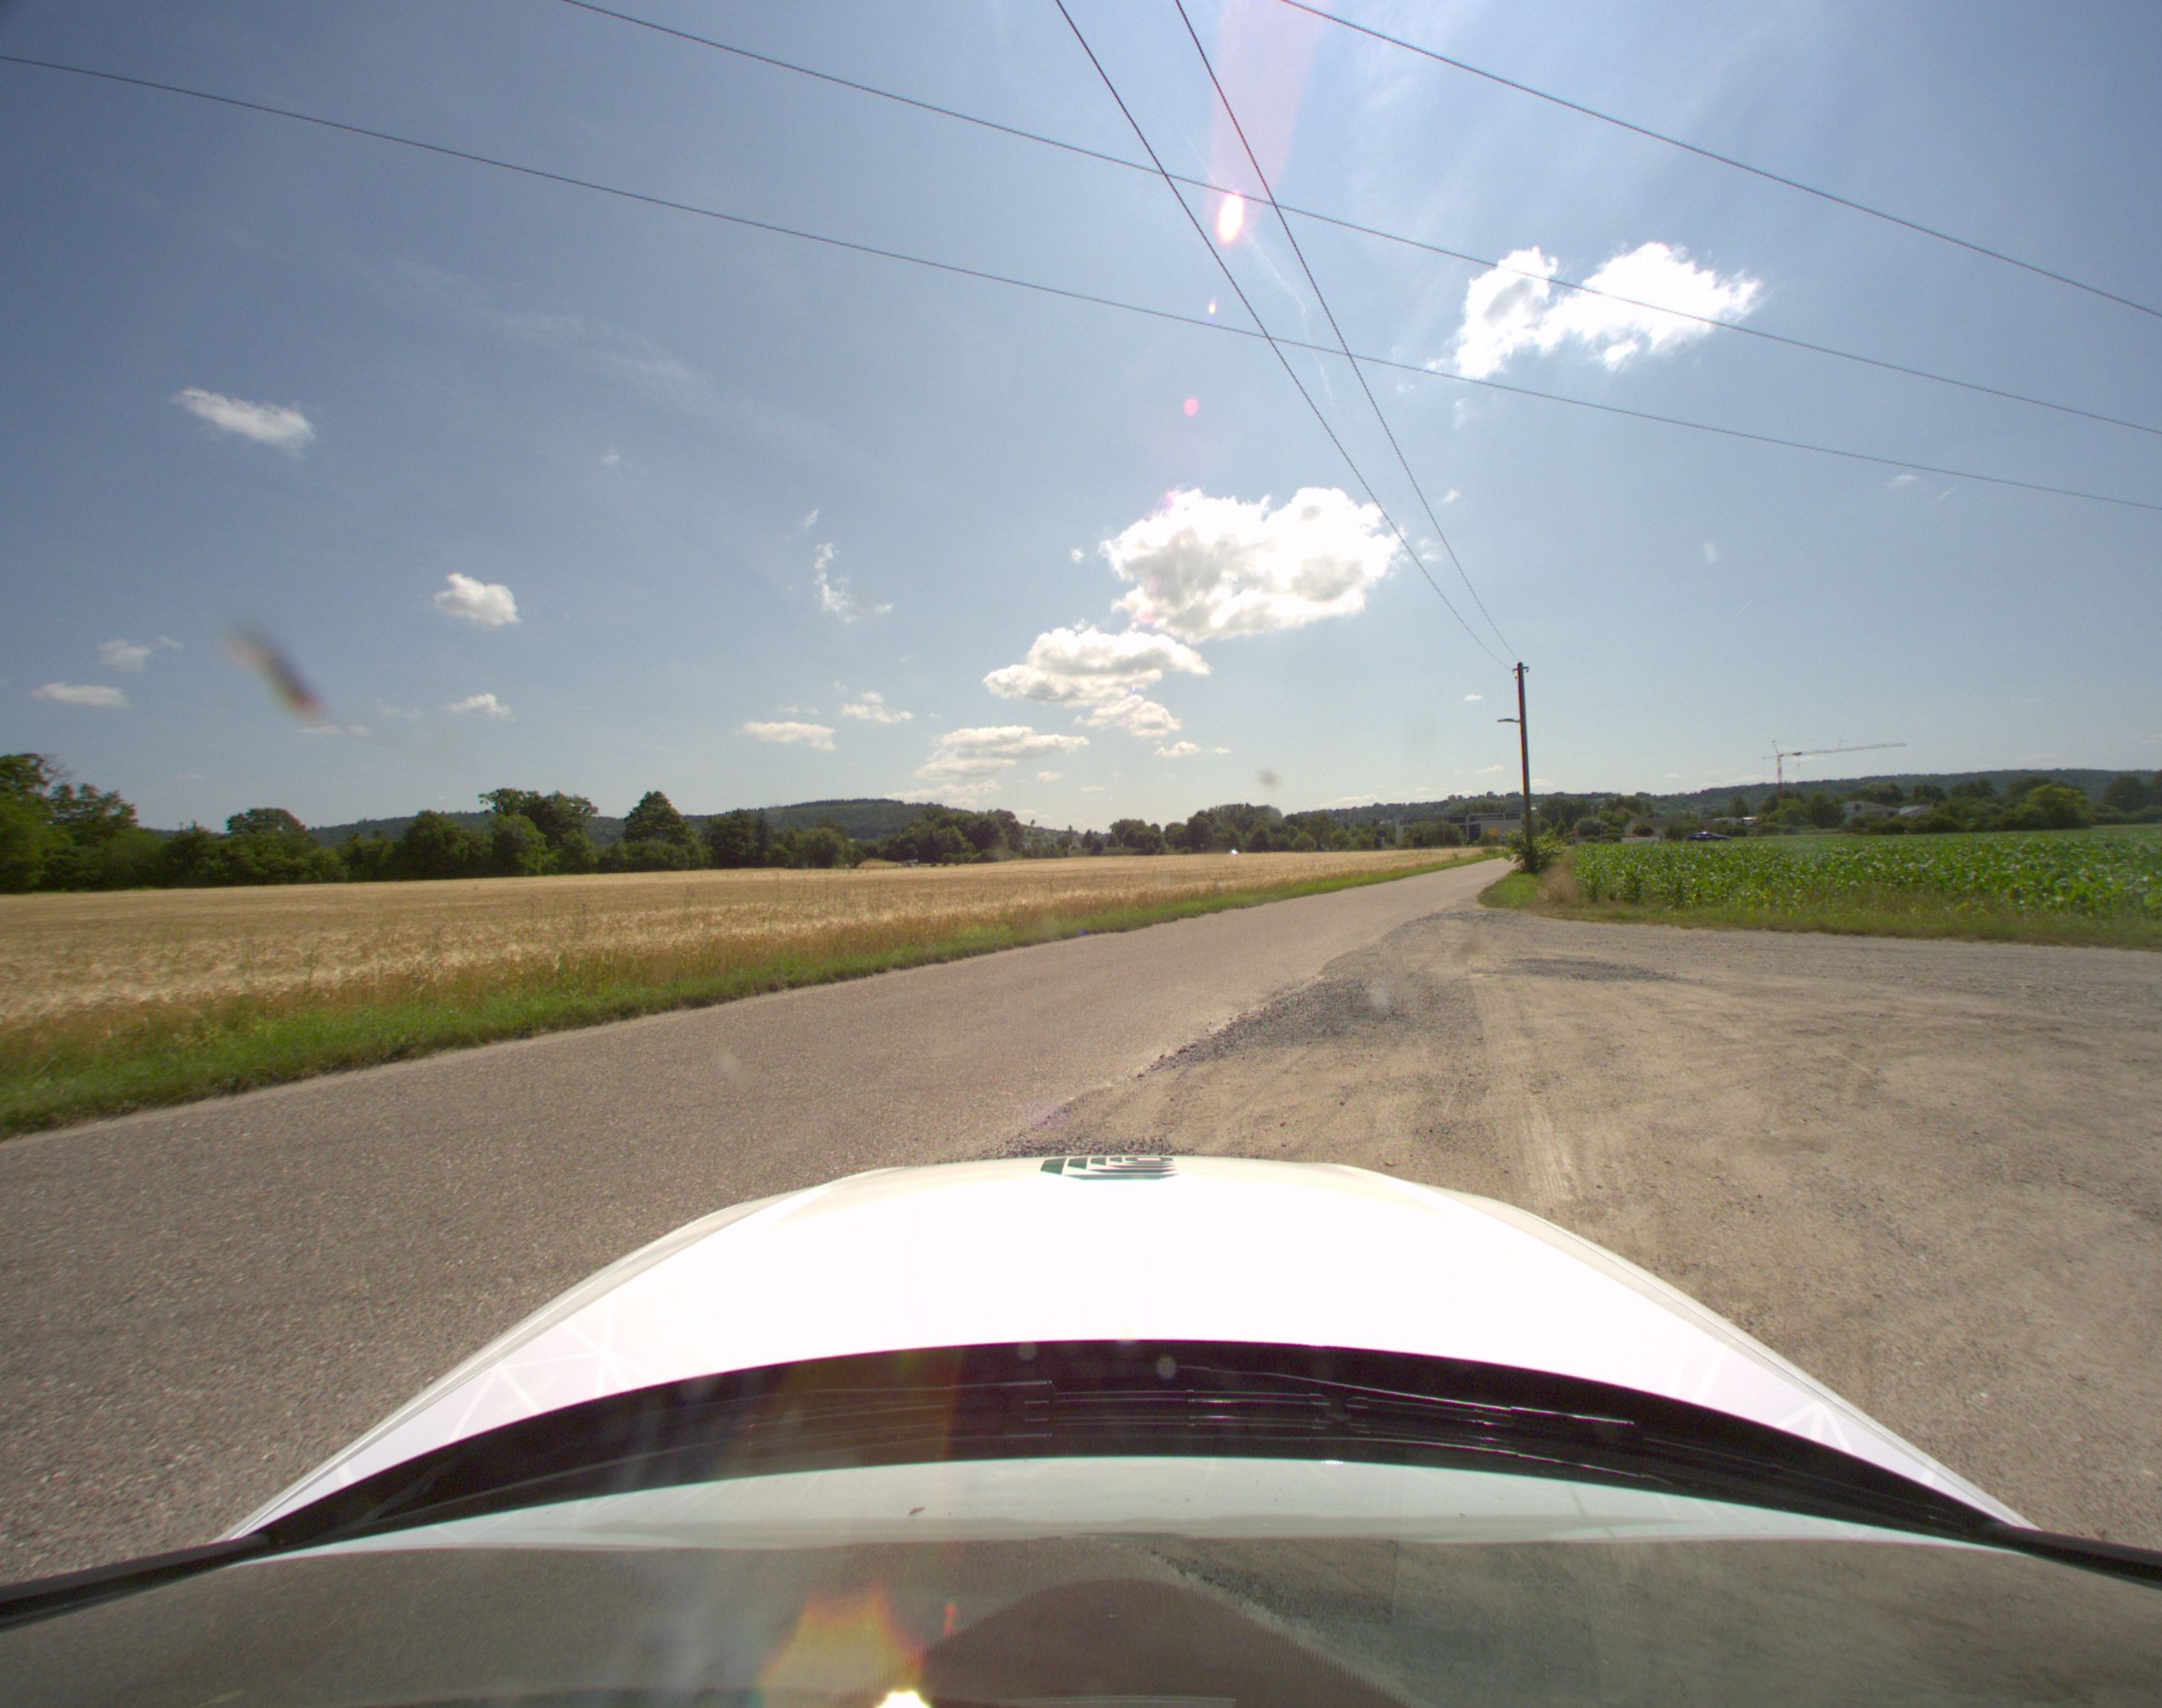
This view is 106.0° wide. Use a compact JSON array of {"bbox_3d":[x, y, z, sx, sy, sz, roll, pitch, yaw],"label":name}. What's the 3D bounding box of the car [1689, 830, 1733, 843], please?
[{"bbox_3d":[82.185,-2.316,106.243,1.827,1.502,4.239,-2,0,-44],"label":"car"}]
